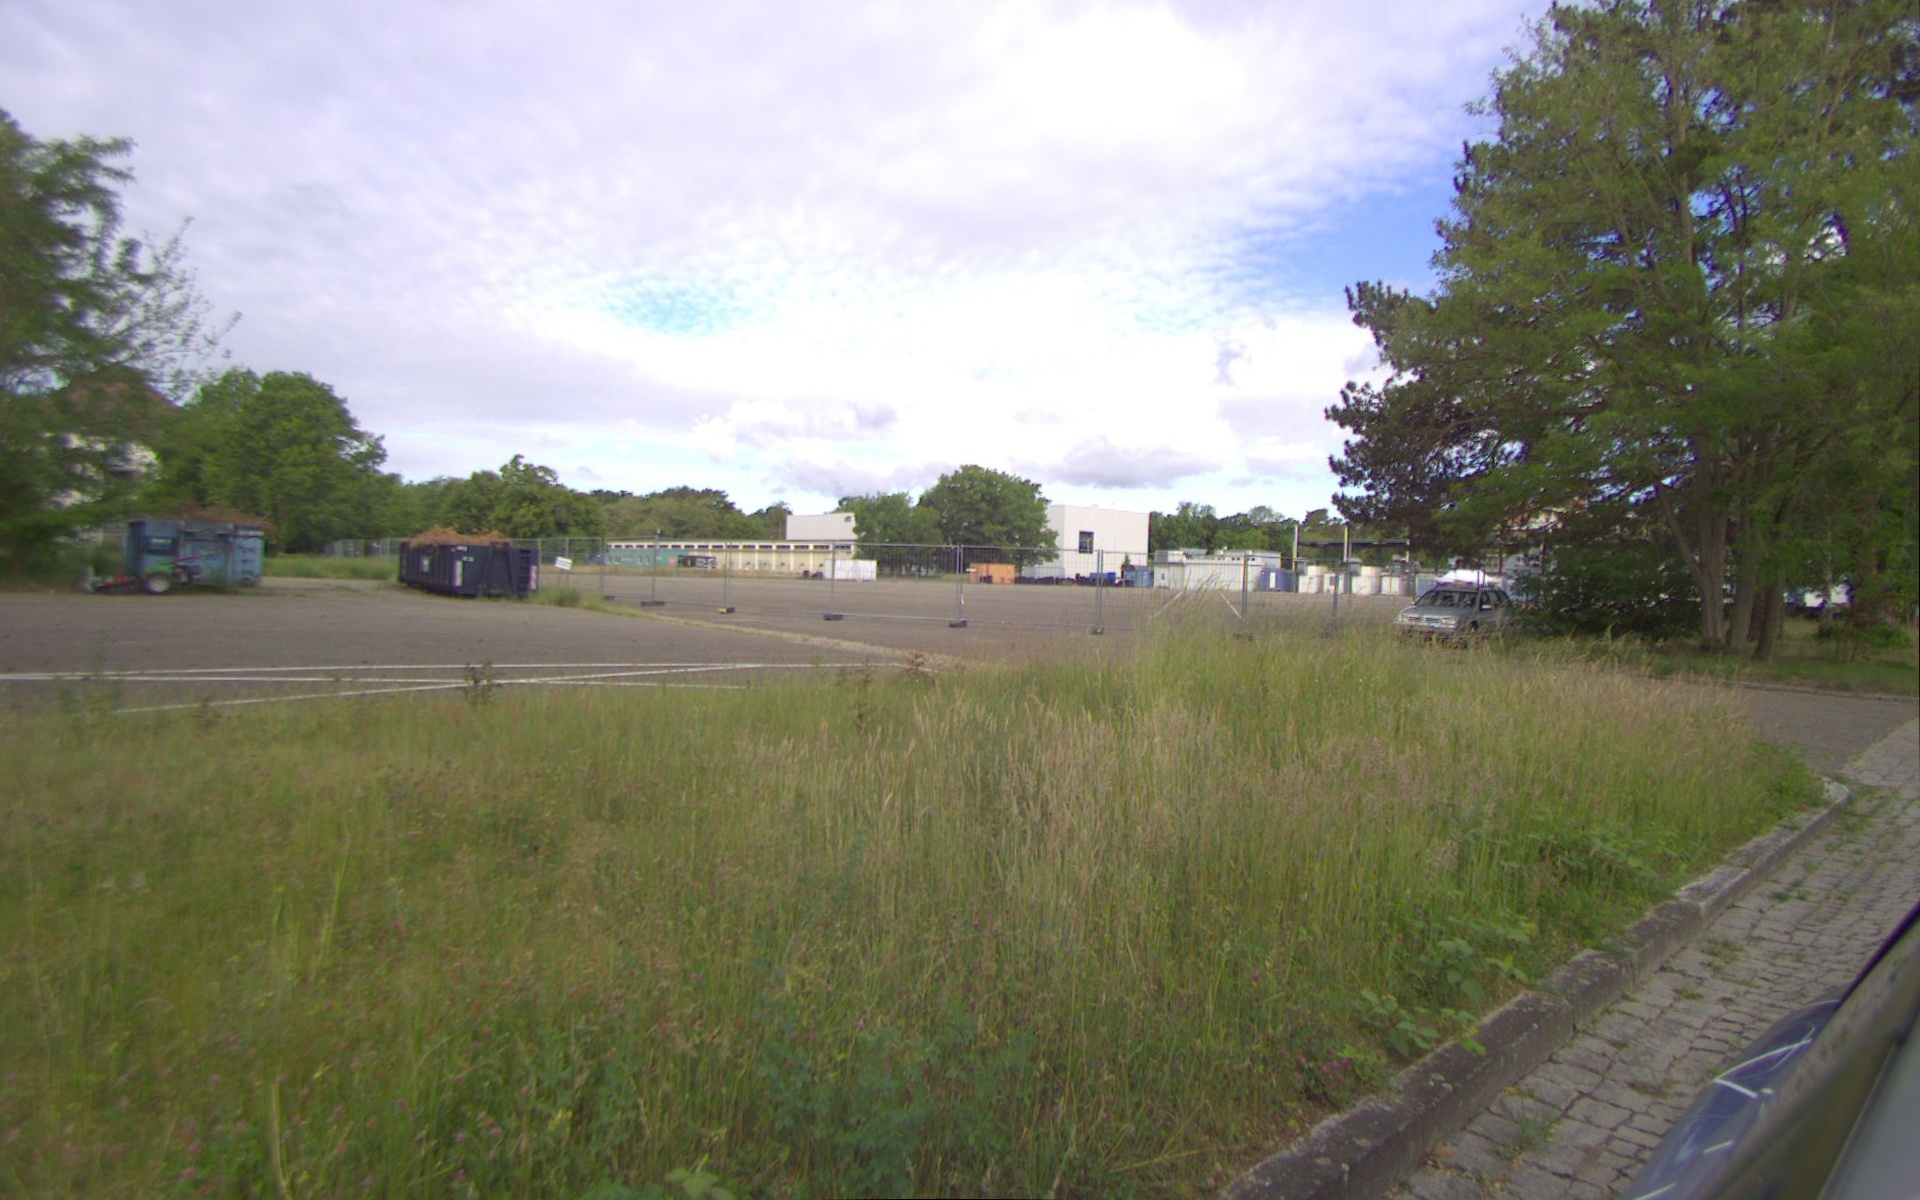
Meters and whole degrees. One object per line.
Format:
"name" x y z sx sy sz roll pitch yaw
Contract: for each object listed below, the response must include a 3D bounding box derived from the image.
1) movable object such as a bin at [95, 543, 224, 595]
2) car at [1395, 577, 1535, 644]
"movable object such as a bin" -18.382 -0.692 23.278 0.958 1.148 2.181 1 1 40
"car" 12.476 0.221 24.890 4.415 1.468 1.676 0 2 -44
